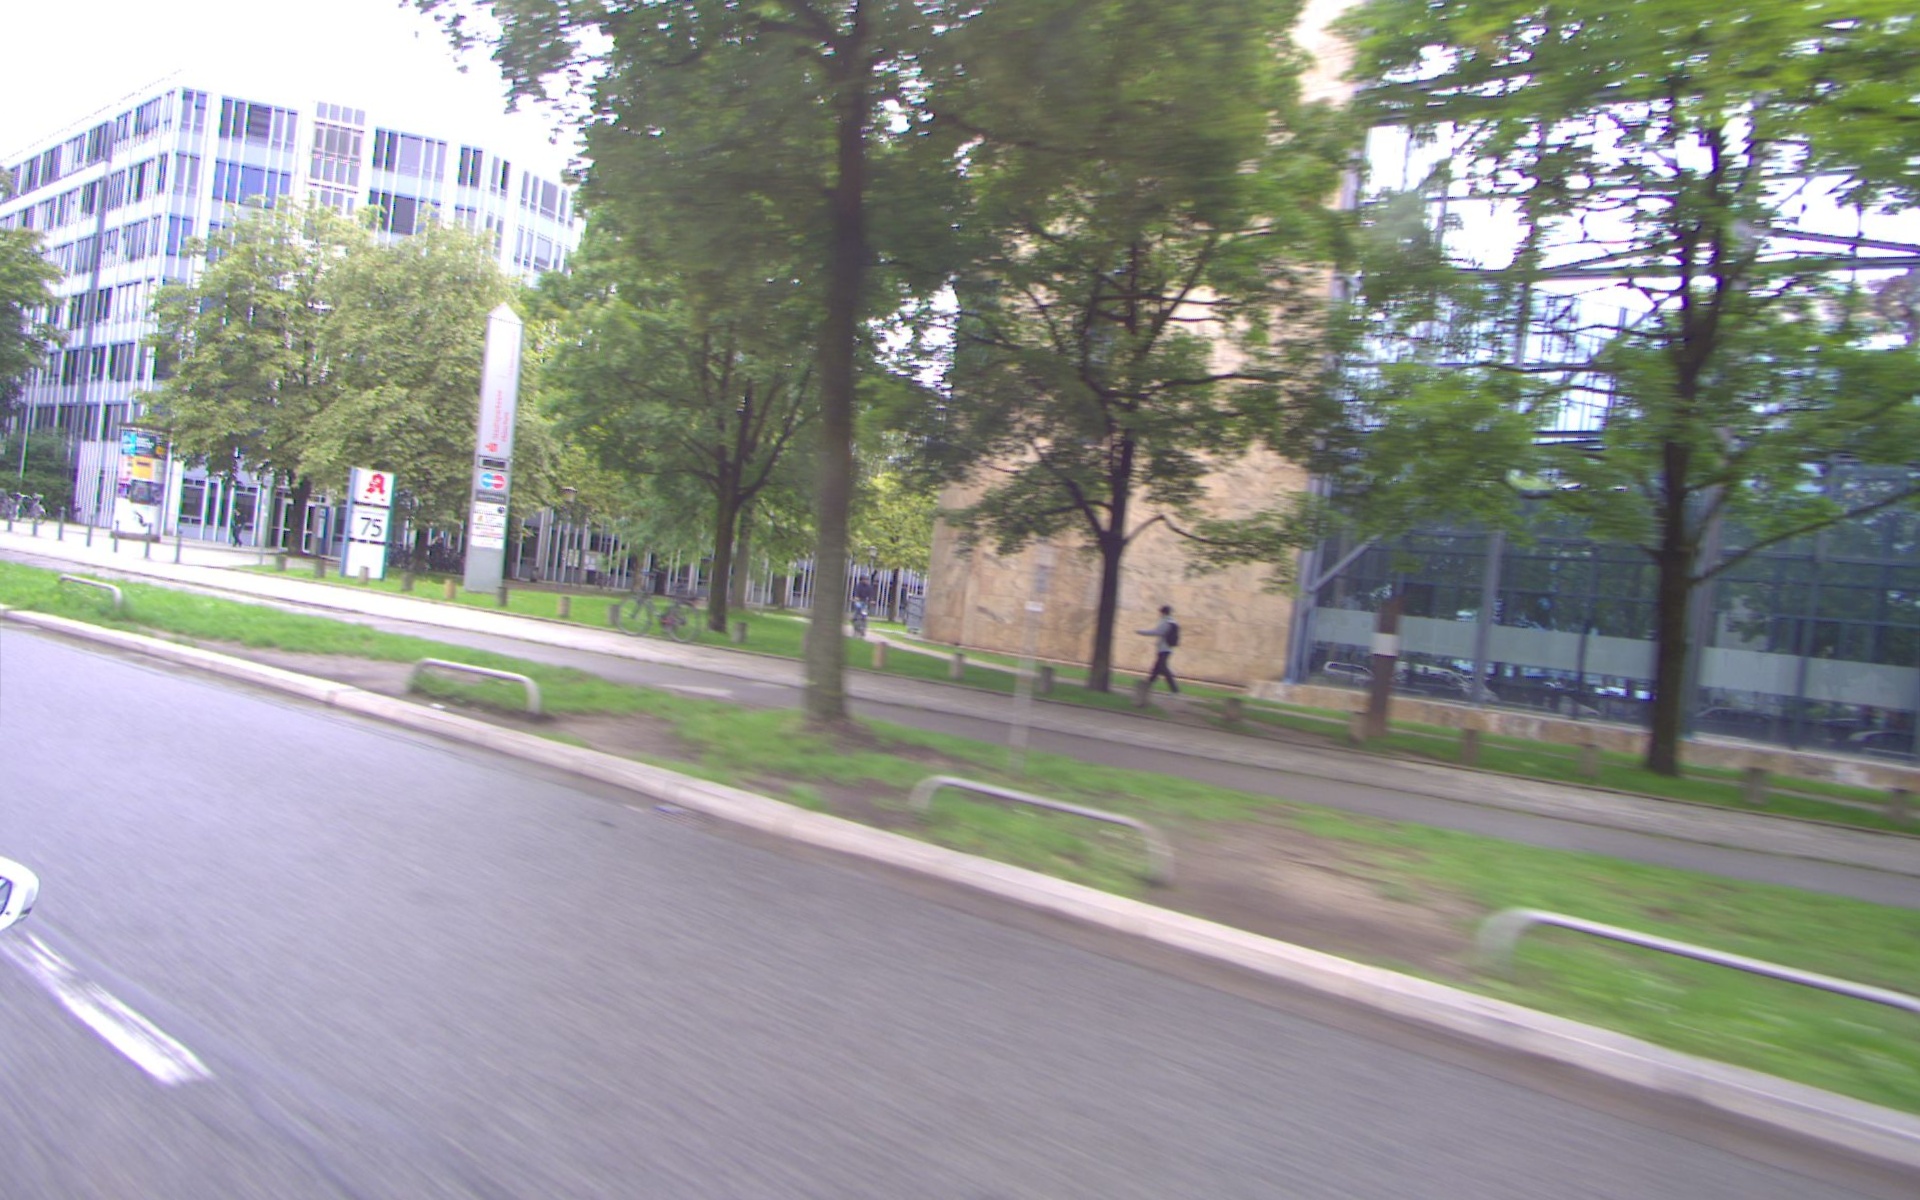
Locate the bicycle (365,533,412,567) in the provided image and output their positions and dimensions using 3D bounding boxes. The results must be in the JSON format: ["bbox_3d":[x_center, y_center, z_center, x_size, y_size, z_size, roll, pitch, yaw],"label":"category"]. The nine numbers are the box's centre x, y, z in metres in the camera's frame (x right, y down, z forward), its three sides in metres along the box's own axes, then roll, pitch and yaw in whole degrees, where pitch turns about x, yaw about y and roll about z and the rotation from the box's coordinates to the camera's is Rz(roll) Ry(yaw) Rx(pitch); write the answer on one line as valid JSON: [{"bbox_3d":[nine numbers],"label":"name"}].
[{"bbox_3d":[-25.372,-2.206,44.665,2.135,1.276,0.509,7,1,23],"label":"bicycle"}]

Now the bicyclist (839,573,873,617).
[{"bbox_3d":[-2.974,-0.148,28.694,0.716,1.144,0.956,6,1,-16],"label":"bicyclist"}]

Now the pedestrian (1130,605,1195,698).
[{"bbox_3d":[3.857,0.981,19.173,0.866,1.667,0.569,7,2,41],"label":"pedestrian"}]

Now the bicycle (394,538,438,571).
[{"bbox_3d":[-24.882,-2.100,46.012,1.985,1.276,0.509,7,1,23],"label":"bicycle"}]

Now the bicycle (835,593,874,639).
[{"bbox_3d":[-3.031,0.446,28.689,0.716,1.144,1.760,6,1,-16],"label":"bicycle"}]

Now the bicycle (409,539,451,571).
[{"bbox_3d":[-24.579,-2.104,46.668,1.919,1.276,0.509,7,1,23],"label":"bicycle"}]

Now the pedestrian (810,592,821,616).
[{"bbox_3d":[-10.809,0.297,75.178,0.477,1.679,0.482,7,1,30],"label":"pedestrian"}]

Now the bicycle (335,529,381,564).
[{"bbox_3d":[-26.163,-2.323,43.693,2.019,1.276,0.608,7,1,25],"label":"bicycle"}]

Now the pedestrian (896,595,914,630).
[{"bbox_3d":[-2.773,0.622,50.514,0.507,1.652,0.503,8,2,41],"label":"pedestrian"}]

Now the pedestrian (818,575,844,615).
[{"bbox_3d":[-5.843,-0.206,45.624,0.849,1.699,0.588,7,1,17],"label":"pedestrian"}]

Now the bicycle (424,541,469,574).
[{"bbox_3d":[-24.020,-1.998,47.059,2.135,1.276,0.554,7,1,23],"label":"bicycle"}]

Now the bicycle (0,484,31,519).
[{"bbox_3d":[-36.925,-3.861,38.894,2.102,1.204,0.578,7,1,23],"label":"bicycle"}]

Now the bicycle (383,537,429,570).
[{"bbox_3d":[-25.006,-2.106,45.397,2.135,1.276,0.509,7,1,23],"label":"bicycle"}]

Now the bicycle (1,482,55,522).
[{"bbox_3d":[-36.741,-3.867,39.655,2.433,1.311,0.509,7,1,23],"label":"bicycle"}]

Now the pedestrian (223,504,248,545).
[{"bbox_3d":[-33.677,-3.488,46.730,0.759,1.795,0.685,8,2,43],"label":"pedestrian"}]

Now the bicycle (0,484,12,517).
[{"bbox_3d":[-36.908,-3.846,38.135,2.102,1.204,0.512,7,1,23],"label":"bicycle"}]

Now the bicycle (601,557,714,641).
[{"bbox_3d":[-5.362,-0.025,17.790,1.886,1.266,0.621,7,1,27],"label":"bicycle"}]
